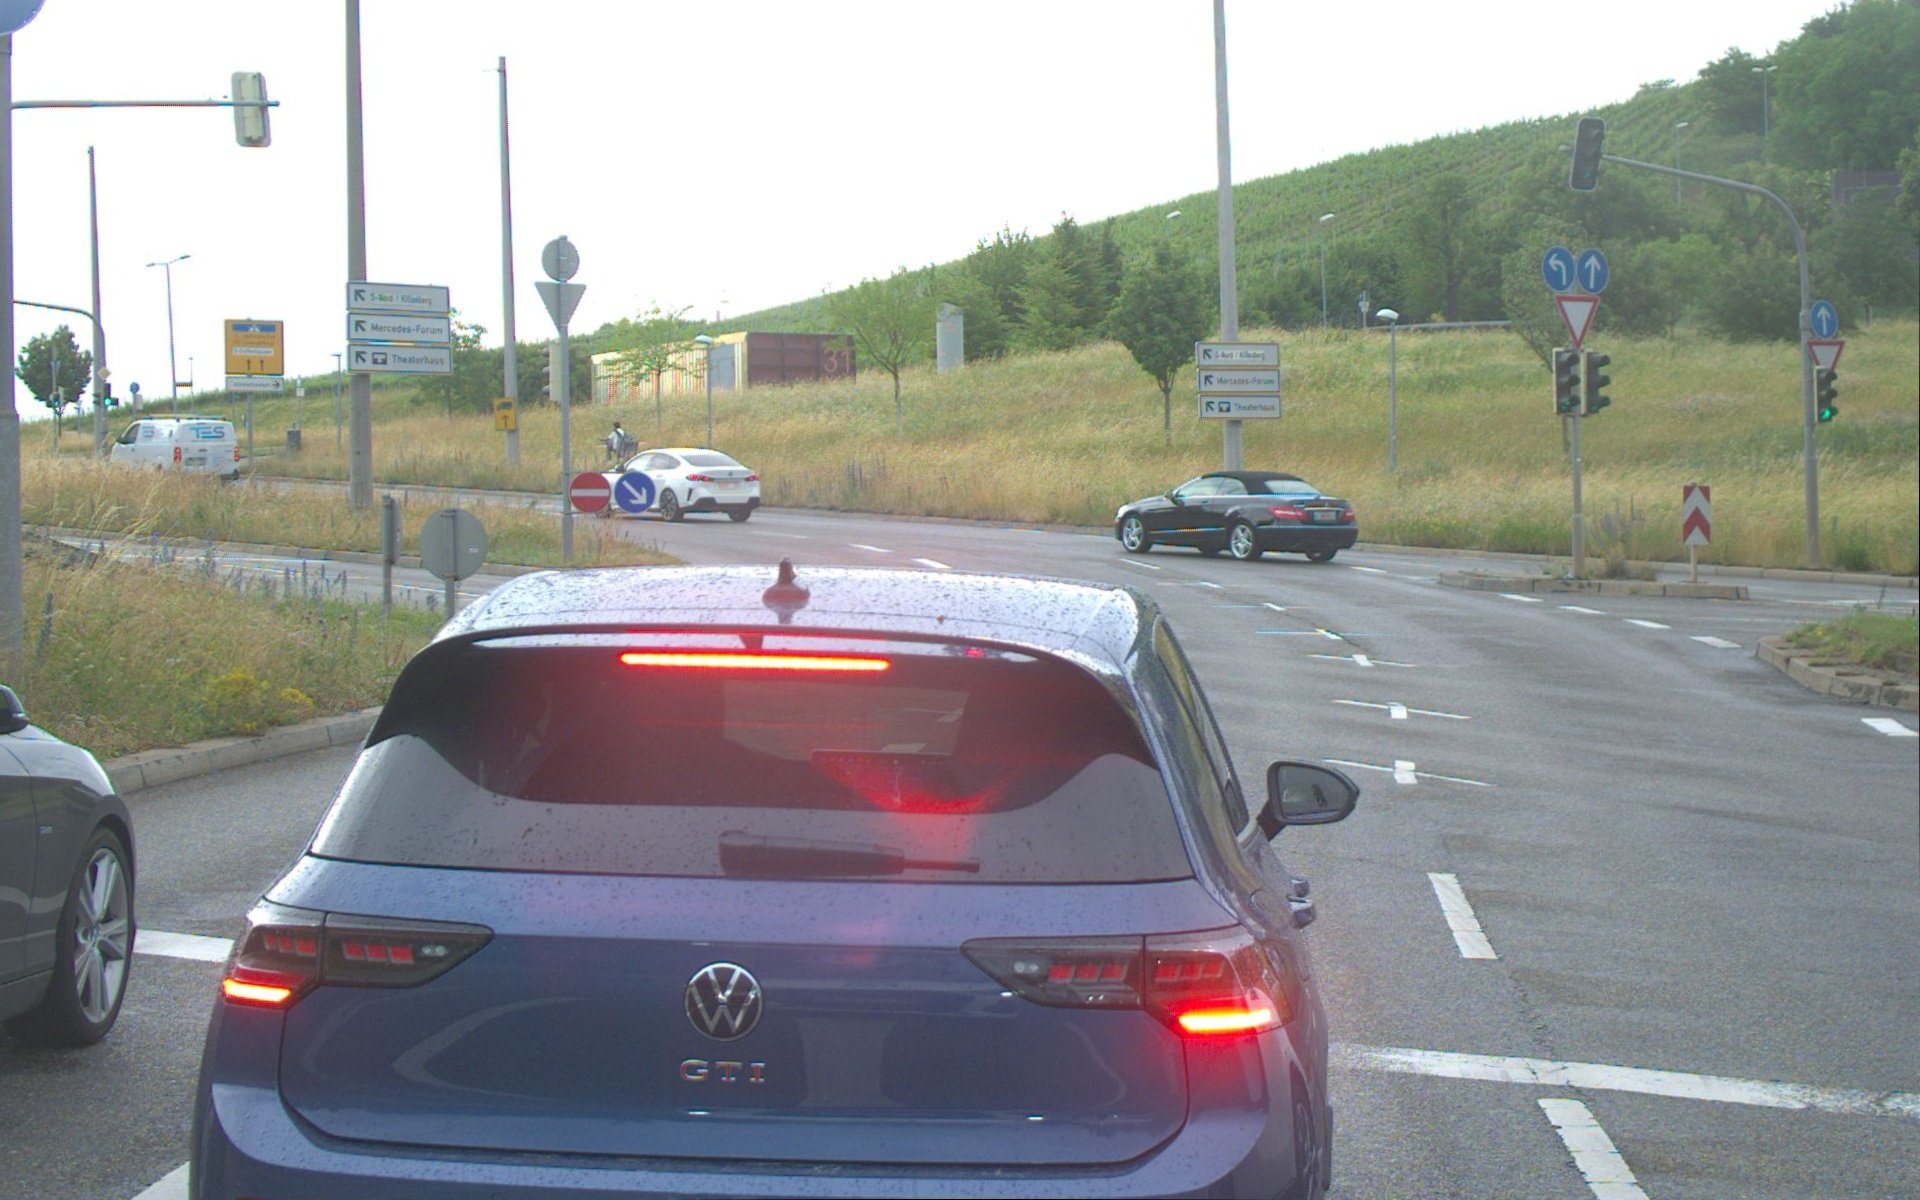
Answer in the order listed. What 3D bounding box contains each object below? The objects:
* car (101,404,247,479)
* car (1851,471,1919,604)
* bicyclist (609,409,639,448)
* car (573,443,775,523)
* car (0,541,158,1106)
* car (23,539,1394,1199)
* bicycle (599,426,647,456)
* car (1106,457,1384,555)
[{"bbox_3d":[-20.893,-4.176,91.267,2.129,1.788,4.740,1,0,-35],"label":"car"},{"bbox_3d":[13.328,-0.749,42.044,1.994,1.631,4.420,1,0,-37],"label":"car"},{"bbox_3d":[-9.374,-4.779,95.893,0.523,1.043,0.580,3,1,-38],"label":"bicyclist"},{"bbox_3d":[-5.785,-2.329,69.192,1.994,1.472,4.420,1,0,-37],"label":"car"},{"bbox_3d":[-3.341,0.572,8.272,1.703,1.455,4.114,0,0,2],"label":"car"},{"bbox_3d":[-0.243,0.634,6.476,1.825,1.455,3.808,1,1,3],"label":"car"},{"bbox_3d":[-9.412,-4.431,95.909,0.518,0.772,1.621,2,2,-37],"label":"bicycle"},{"bbox_3d":[4.520,-1.476,55.165,1.994,1.472,4.502,1,0,-36],"label":"car"}]
